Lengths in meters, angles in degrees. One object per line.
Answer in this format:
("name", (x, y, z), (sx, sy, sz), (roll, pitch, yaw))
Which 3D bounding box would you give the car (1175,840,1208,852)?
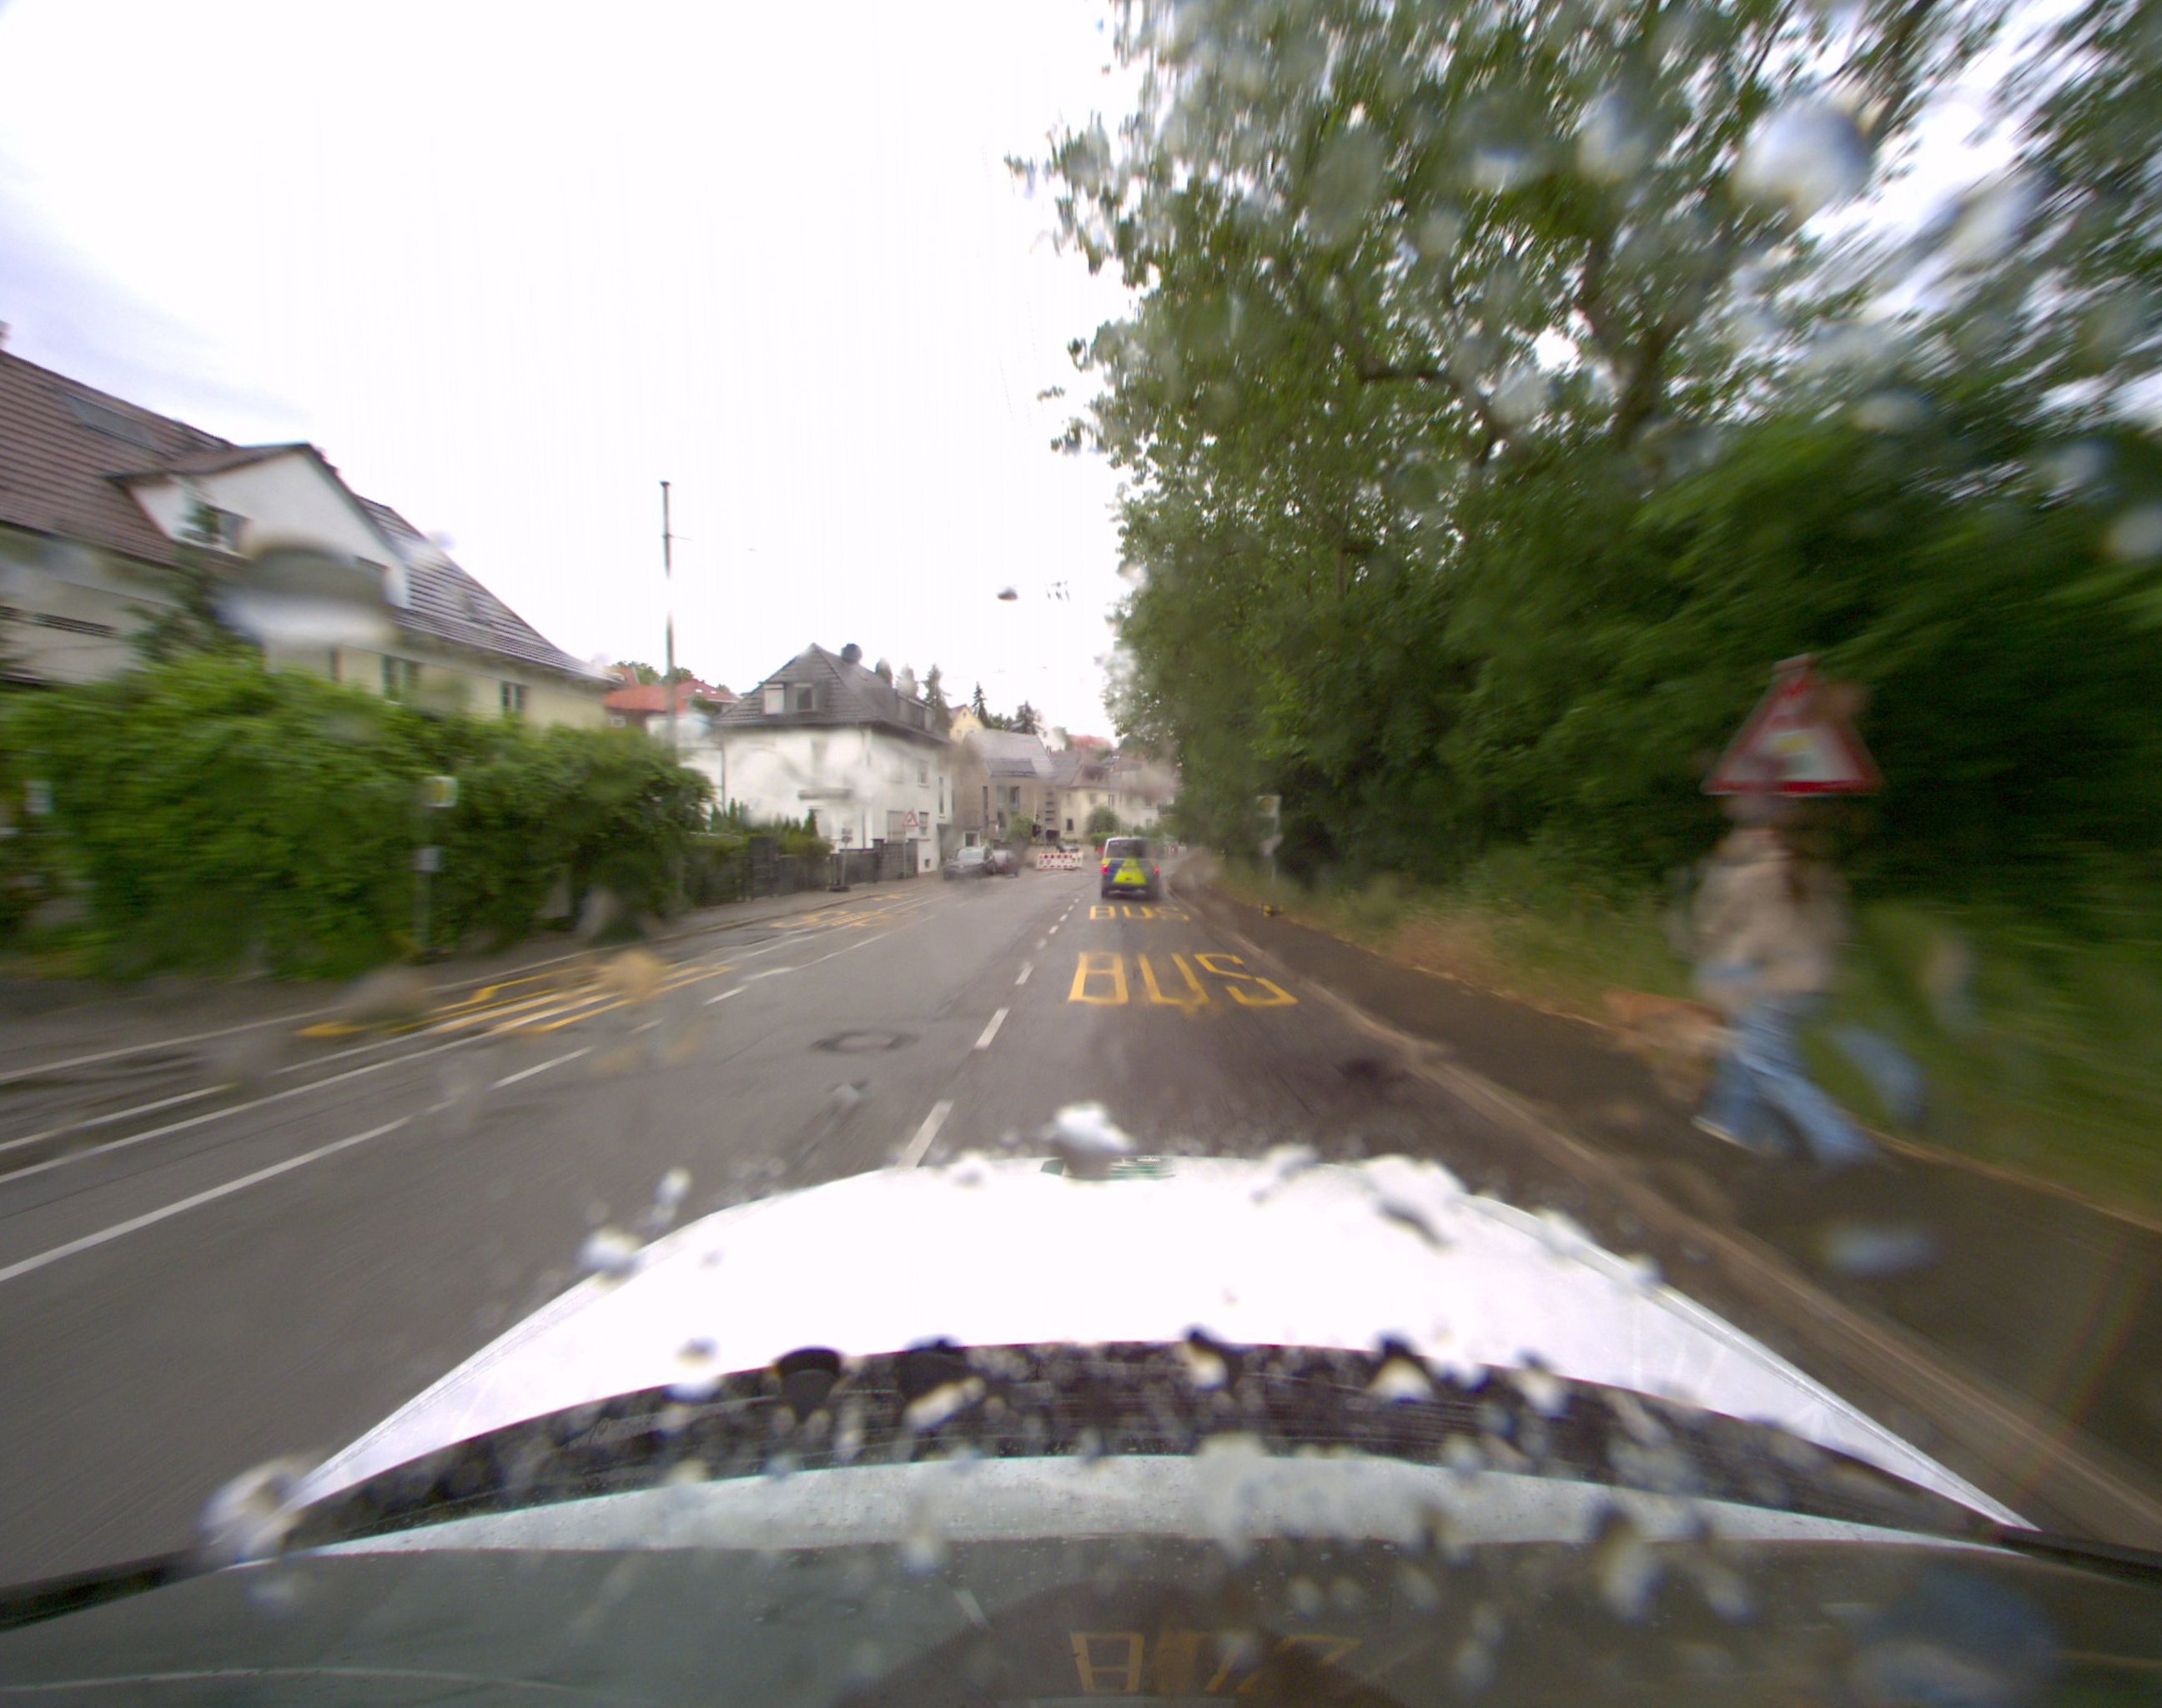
("car", (14.945, -1.084, 110.167), (3.949, 1.486, 1.771), (2, -1, 31))

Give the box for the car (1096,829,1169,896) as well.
("car", (1.822, 0.225, 27.360), (1.982, 2.013, 4.412), (-2, 1, 8))

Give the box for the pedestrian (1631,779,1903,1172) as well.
("pedestrian", (3.056, 0.503, 3.698), (0.639, 1.611, 0.670), (-1, -1, 0))

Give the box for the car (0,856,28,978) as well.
("car", (-14.453, 0.673, 8.940), (3.630, 1.423, 1.634), (2, -1, 1))

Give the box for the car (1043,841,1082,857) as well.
("car", (-1.833, -0.540, 78.703), (1.847, 1.443, 3.956), (-1, 2, -36))

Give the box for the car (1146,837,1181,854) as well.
("car", (10.267, -1.055, 101.618), (3.949, 2.013, 1.842), (1, 1, 32))

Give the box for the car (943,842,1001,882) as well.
("car", (-4.917, 0.317, 37.396), (1.746, 1.658, 4.410), (-2, 1, 4))

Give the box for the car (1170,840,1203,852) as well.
("car", (14.015, -1.085, 108.208), (3.949, 1.486, 1.771), (2, -1, 31))

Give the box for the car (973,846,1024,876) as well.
("car", (-4.271, 0.338, 42.834), (1.606, 1.440, 4.242), (0, 1, 9))
